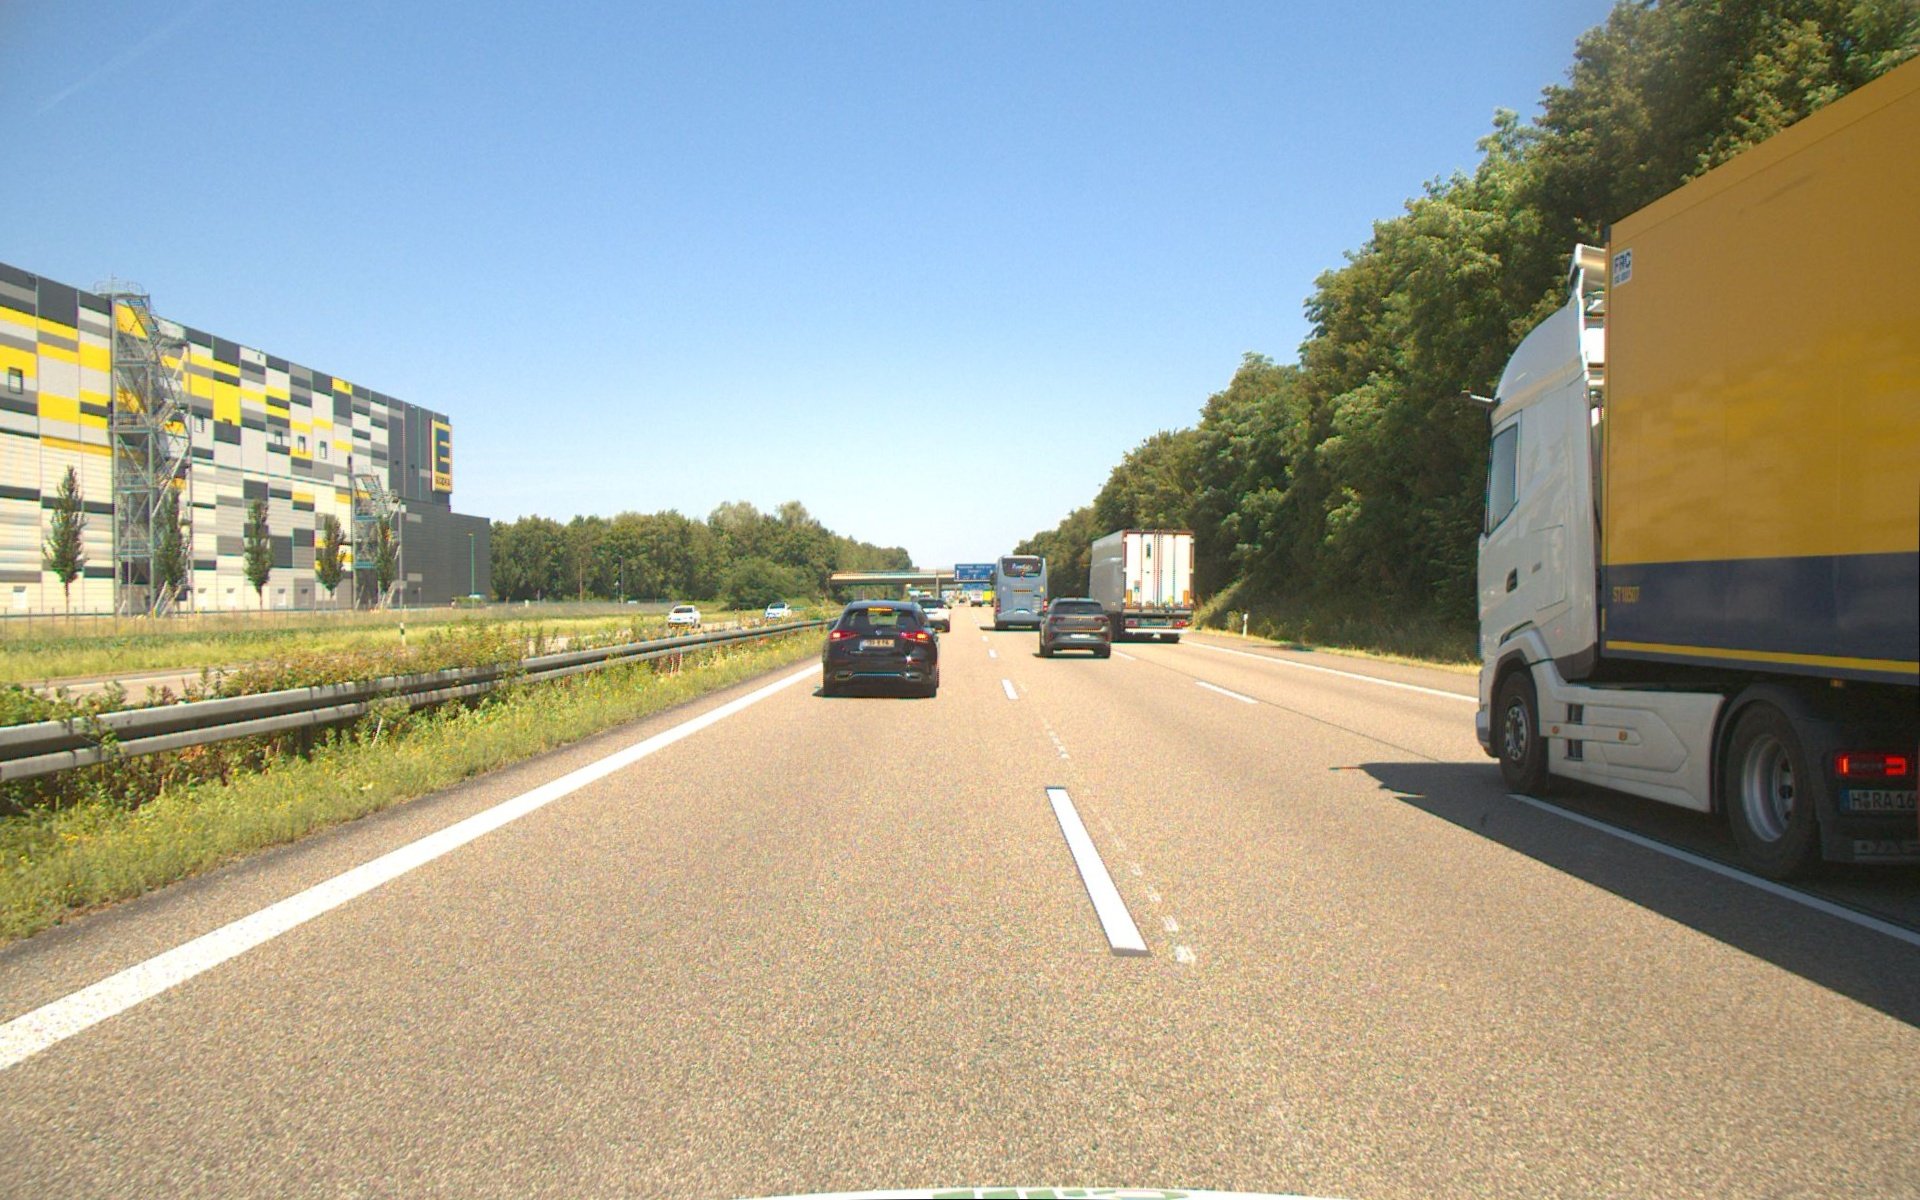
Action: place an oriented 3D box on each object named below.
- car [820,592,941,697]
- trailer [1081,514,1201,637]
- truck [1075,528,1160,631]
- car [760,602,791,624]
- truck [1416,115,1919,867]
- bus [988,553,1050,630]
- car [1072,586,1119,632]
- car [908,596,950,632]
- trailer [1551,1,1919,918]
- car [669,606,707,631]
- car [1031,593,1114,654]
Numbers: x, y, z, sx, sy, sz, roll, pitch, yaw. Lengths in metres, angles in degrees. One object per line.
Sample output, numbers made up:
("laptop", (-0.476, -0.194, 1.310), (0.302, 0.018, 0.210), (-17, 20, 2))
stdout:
("car", (-1.200, 0.647, 26.374), (1.763, 1.528, 4.240), (1, 0, -1))
("trailer", (6.915, -0.881, 65.501), (2.978, 4.298, 13.832), (1, 0, -1))
("truck", (6.796, -0.870, 72.222), (2.985, 4.289, 6.047), (1, 0, -1))
("car", (-13.984, 0.962, 125.558), (1.762, 1.559, 4.483), (-1, 0, 0))
("truck", (5.564, -0.598, 12.180), (2.623, 4.141, 6.047), (1, 0, -1))
("bus", (2.924, -0.388, 85.263), (2.745, 3.659, 12.474), (1, 0, 0))
("car", (6.623, 0.426, 81.107), (1.860, 2.157, 4.240), (1, 0, -1))
("car", (-1.420, 0.608, 75.396), (1.860, 1.559, 4.240), (1, 0, -1))
("trailer", (5.681, -0.622, 4.973), (2.623, 4.141, 13.832), (1, 0, -1))
("car", (-17.629, 1.199, 107.493), (1.763, 1.559, 4.631), (-1, 0, -1))
("car", (2.994, 0.602, 44.897), (1.860, 1.559, 4.759), (1, 0, -1))
